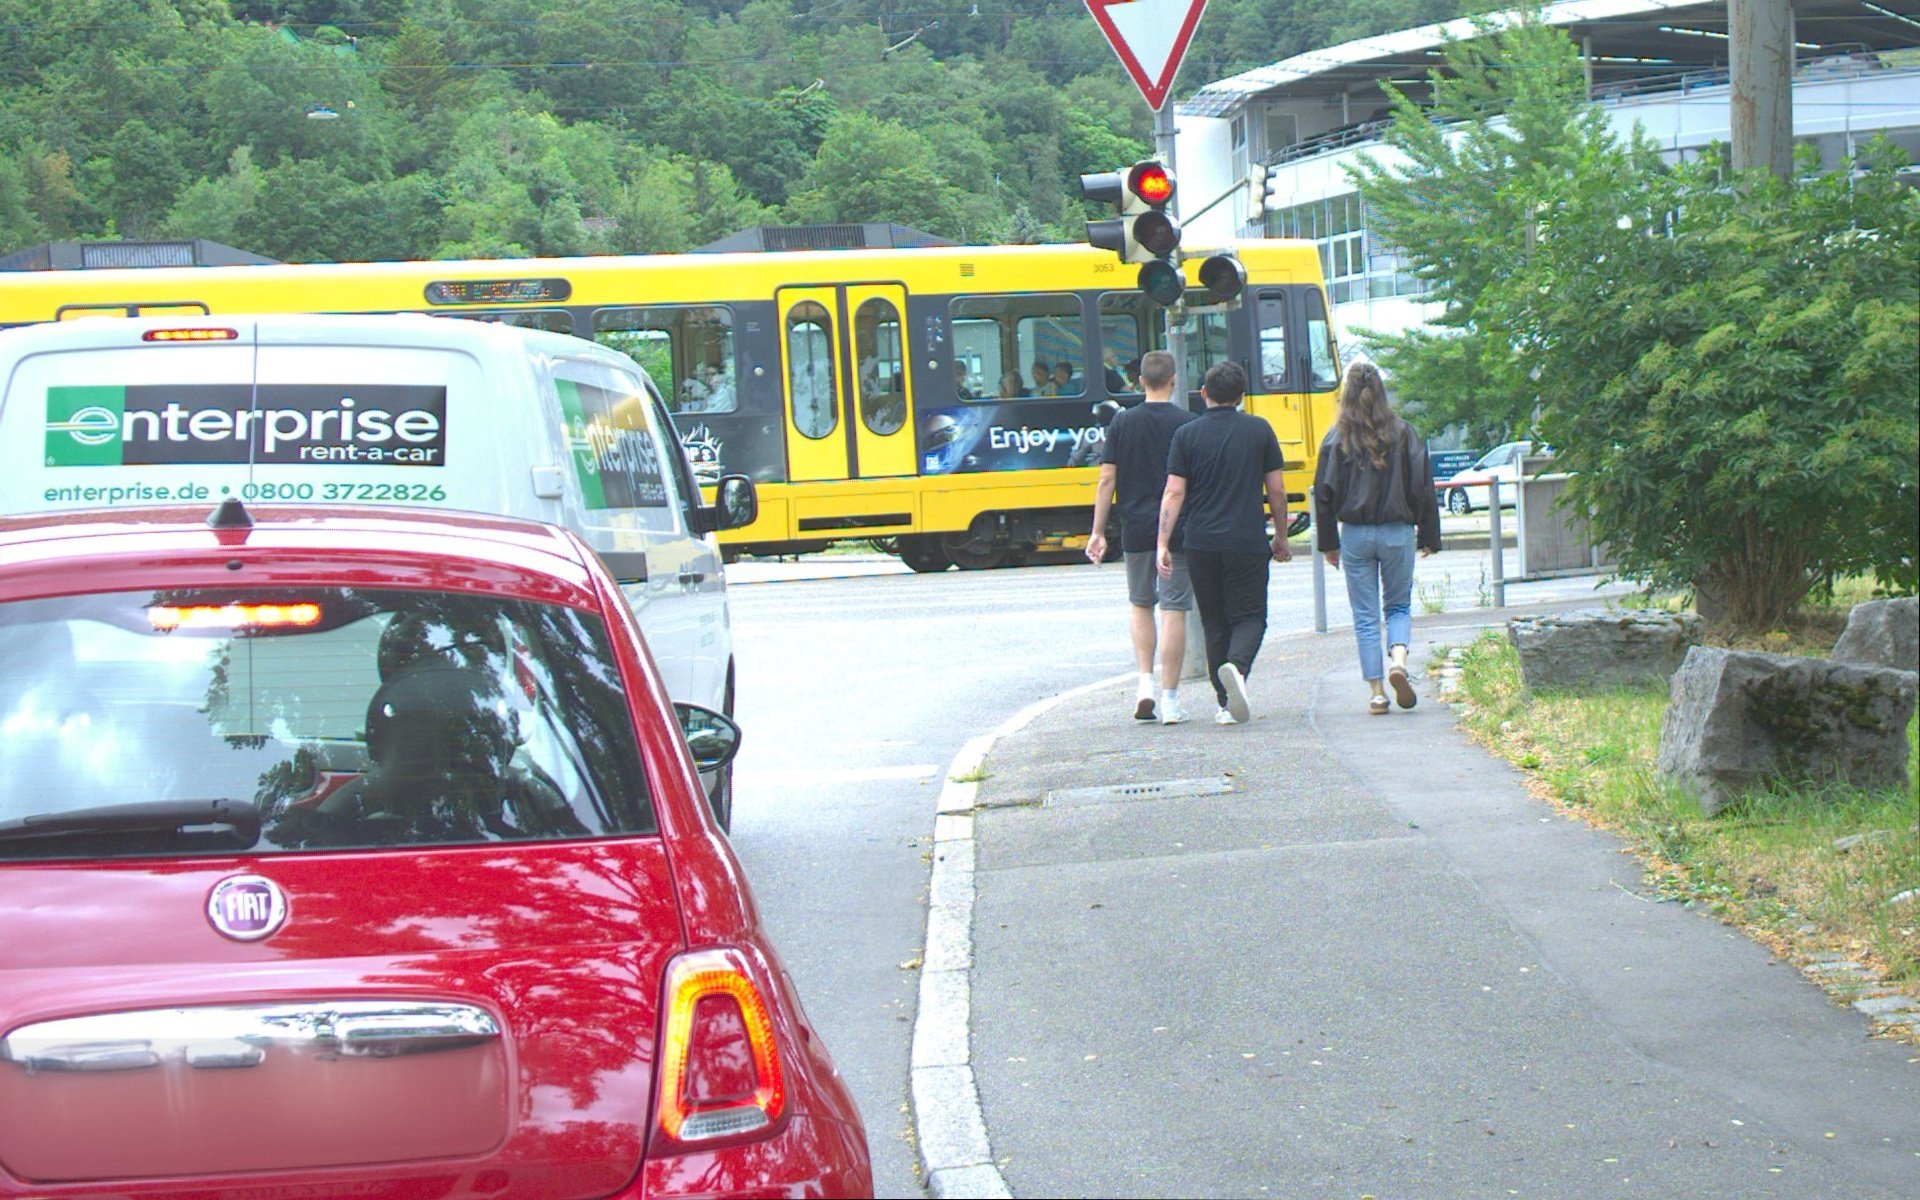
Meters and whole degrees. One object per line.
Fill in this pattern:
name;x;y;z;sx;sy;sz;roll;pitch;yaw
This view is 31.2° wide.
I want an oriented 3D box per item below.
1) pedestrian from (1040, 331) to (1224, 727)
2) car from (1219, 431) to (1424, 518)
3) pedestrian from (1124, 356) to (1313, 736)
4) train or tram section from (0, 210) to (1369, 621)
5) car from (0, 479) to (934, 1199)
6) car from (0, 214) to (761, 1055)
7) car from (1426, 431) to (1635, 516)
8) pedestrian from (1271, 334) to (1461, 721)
pedestrian;0.845;-0.351;16.728;0.693;1.850;0.788;-3;2;12
car;6.819;-2.361;65.148;1.770;1.495;3.881;-4;3;-33
pedestrian;1.222;-0.261;16.114;0.693;1.708;0.788;-2;2;13
train or tram section;-5.156;-1.934;35.871;19.107;3.653;3.279;-3;2;-19
car;-1.174;0.568;5.528;1.638;1.451;3.432;-2;2;-11
car;-1.899;0.011;11.278;1.989;2.099;4.762;-3;2;2
car;11.051;-2.444;66.835;1.770;1.495;4.022;-4;3;-31
pedestrian;1.905;-0.345;16.052;0.693;1.733;0.788;-2;2;15
